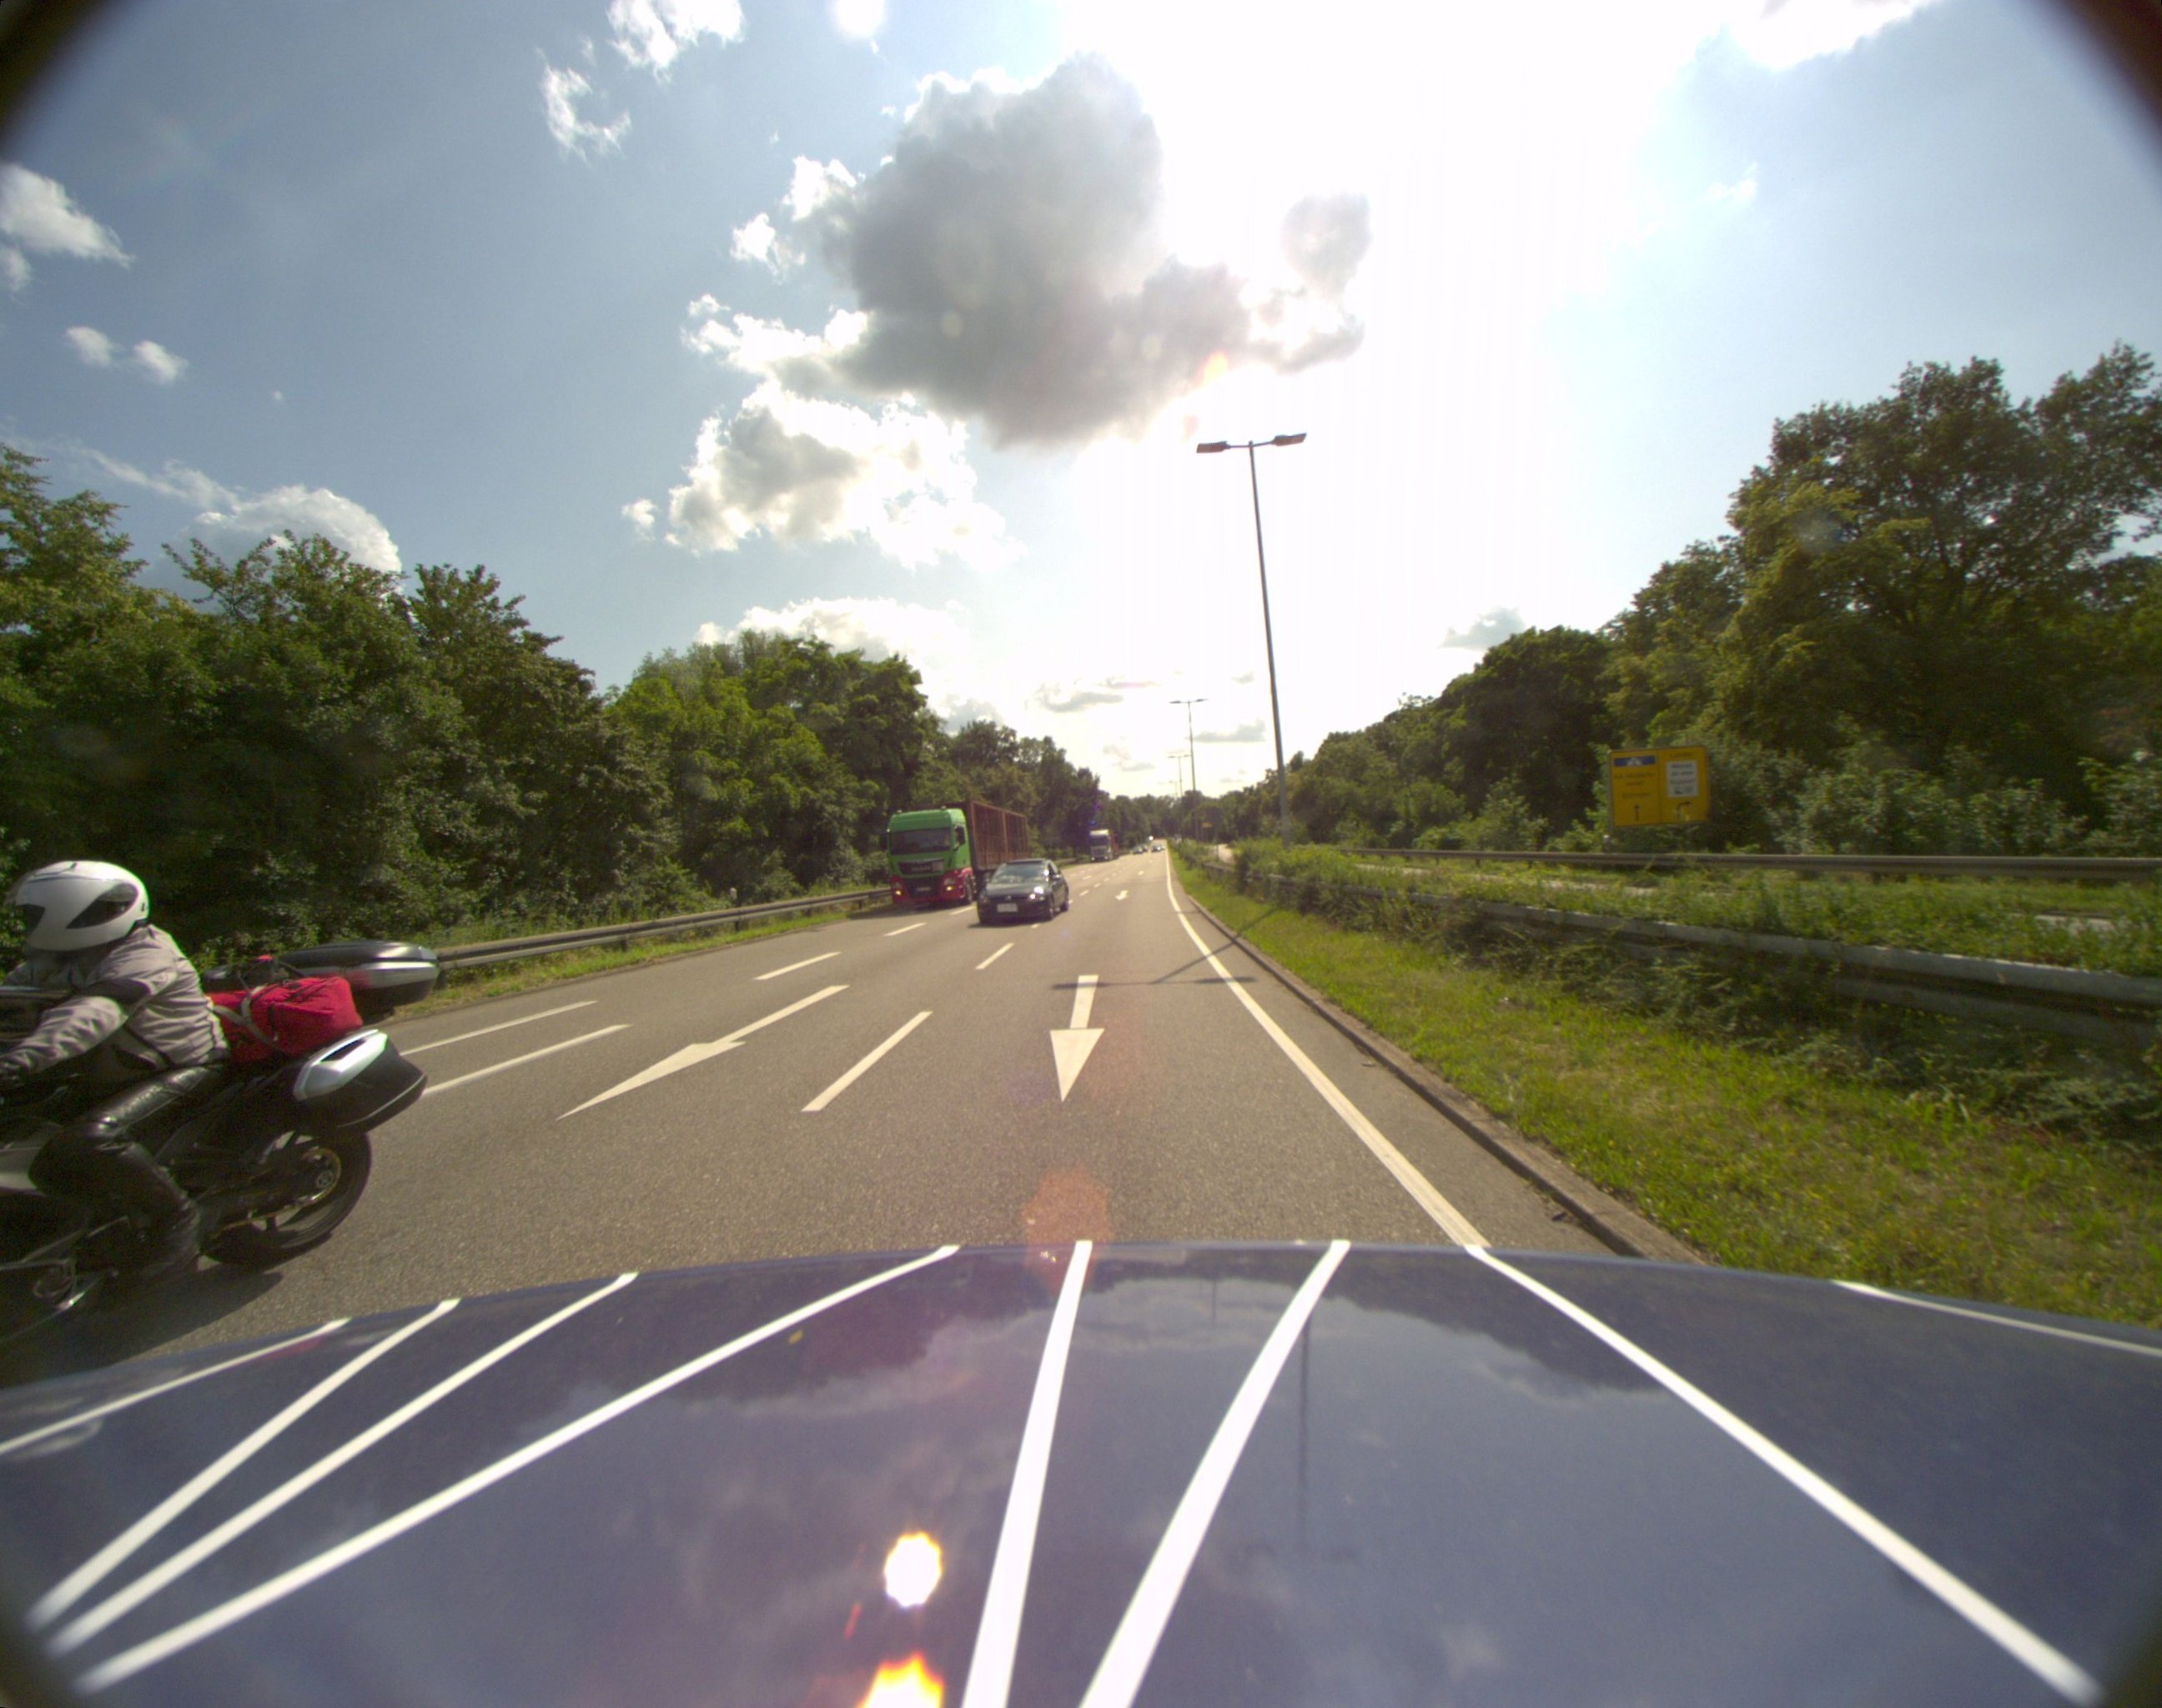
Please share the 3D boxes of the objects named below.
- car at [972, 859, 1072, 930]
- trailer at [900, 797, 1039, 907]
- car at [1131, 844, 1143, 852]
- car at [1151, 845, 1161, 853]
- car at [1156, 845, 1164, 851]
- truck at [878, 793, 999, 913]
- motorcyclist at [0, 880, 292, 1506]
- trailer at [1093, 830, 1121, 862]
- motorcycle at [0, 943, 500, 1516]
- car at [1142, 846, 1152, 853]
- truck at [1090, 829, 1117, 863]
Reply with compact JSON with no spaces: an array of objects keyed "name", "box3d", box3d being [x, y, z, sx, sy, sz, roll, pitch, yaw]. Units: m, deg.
[{"name":"car","box3d":[-1.380,0.947,19.383,1.735,1.468,4.048,-3,0,7]},{"name":"trailer","box3d":[-4.543,-0.107,35.325,2.590,3.871,14.507,-5,0,6]},{"name":"car","box3d":[10.414,-1.155,141.234,1.997,1.330,4.002,-3,0,8]},{"name":"car","box3d":[14.724,-1.020,149.543,1.796,1.368,4.002,-3,0,7]},{"name":"car","box3d":[18.206,-1.425,174.645,1.796,1.368,4.002,-3,0,7]},{"name":"truck","box3d":[-5.186,-0.046,28.919,2.590,3.871,6.064,-5,0,6]},{"name":"motorcyclist","box3d":[-3.411,0.962,2.374,0.867,1.690,0.895,-3,0,4]},{"name":"trailer","box3d":[3.686,-1.092,104.540,2.694,3.948,12.396,-5,0,6]},{"name":"motorcycle","box3d":[-3.396,1.145,2.574,0.867,1.381,2.371,-3,0,3]},{"name":"car","box3d":[13.932,-1.004,160.681,1.998,1.330,4.001,-3,0,5]},{"name":"truck","box3d":[2.940,-1.028,97.108,2.690,3.948,7.386,-5,0,6]}]
